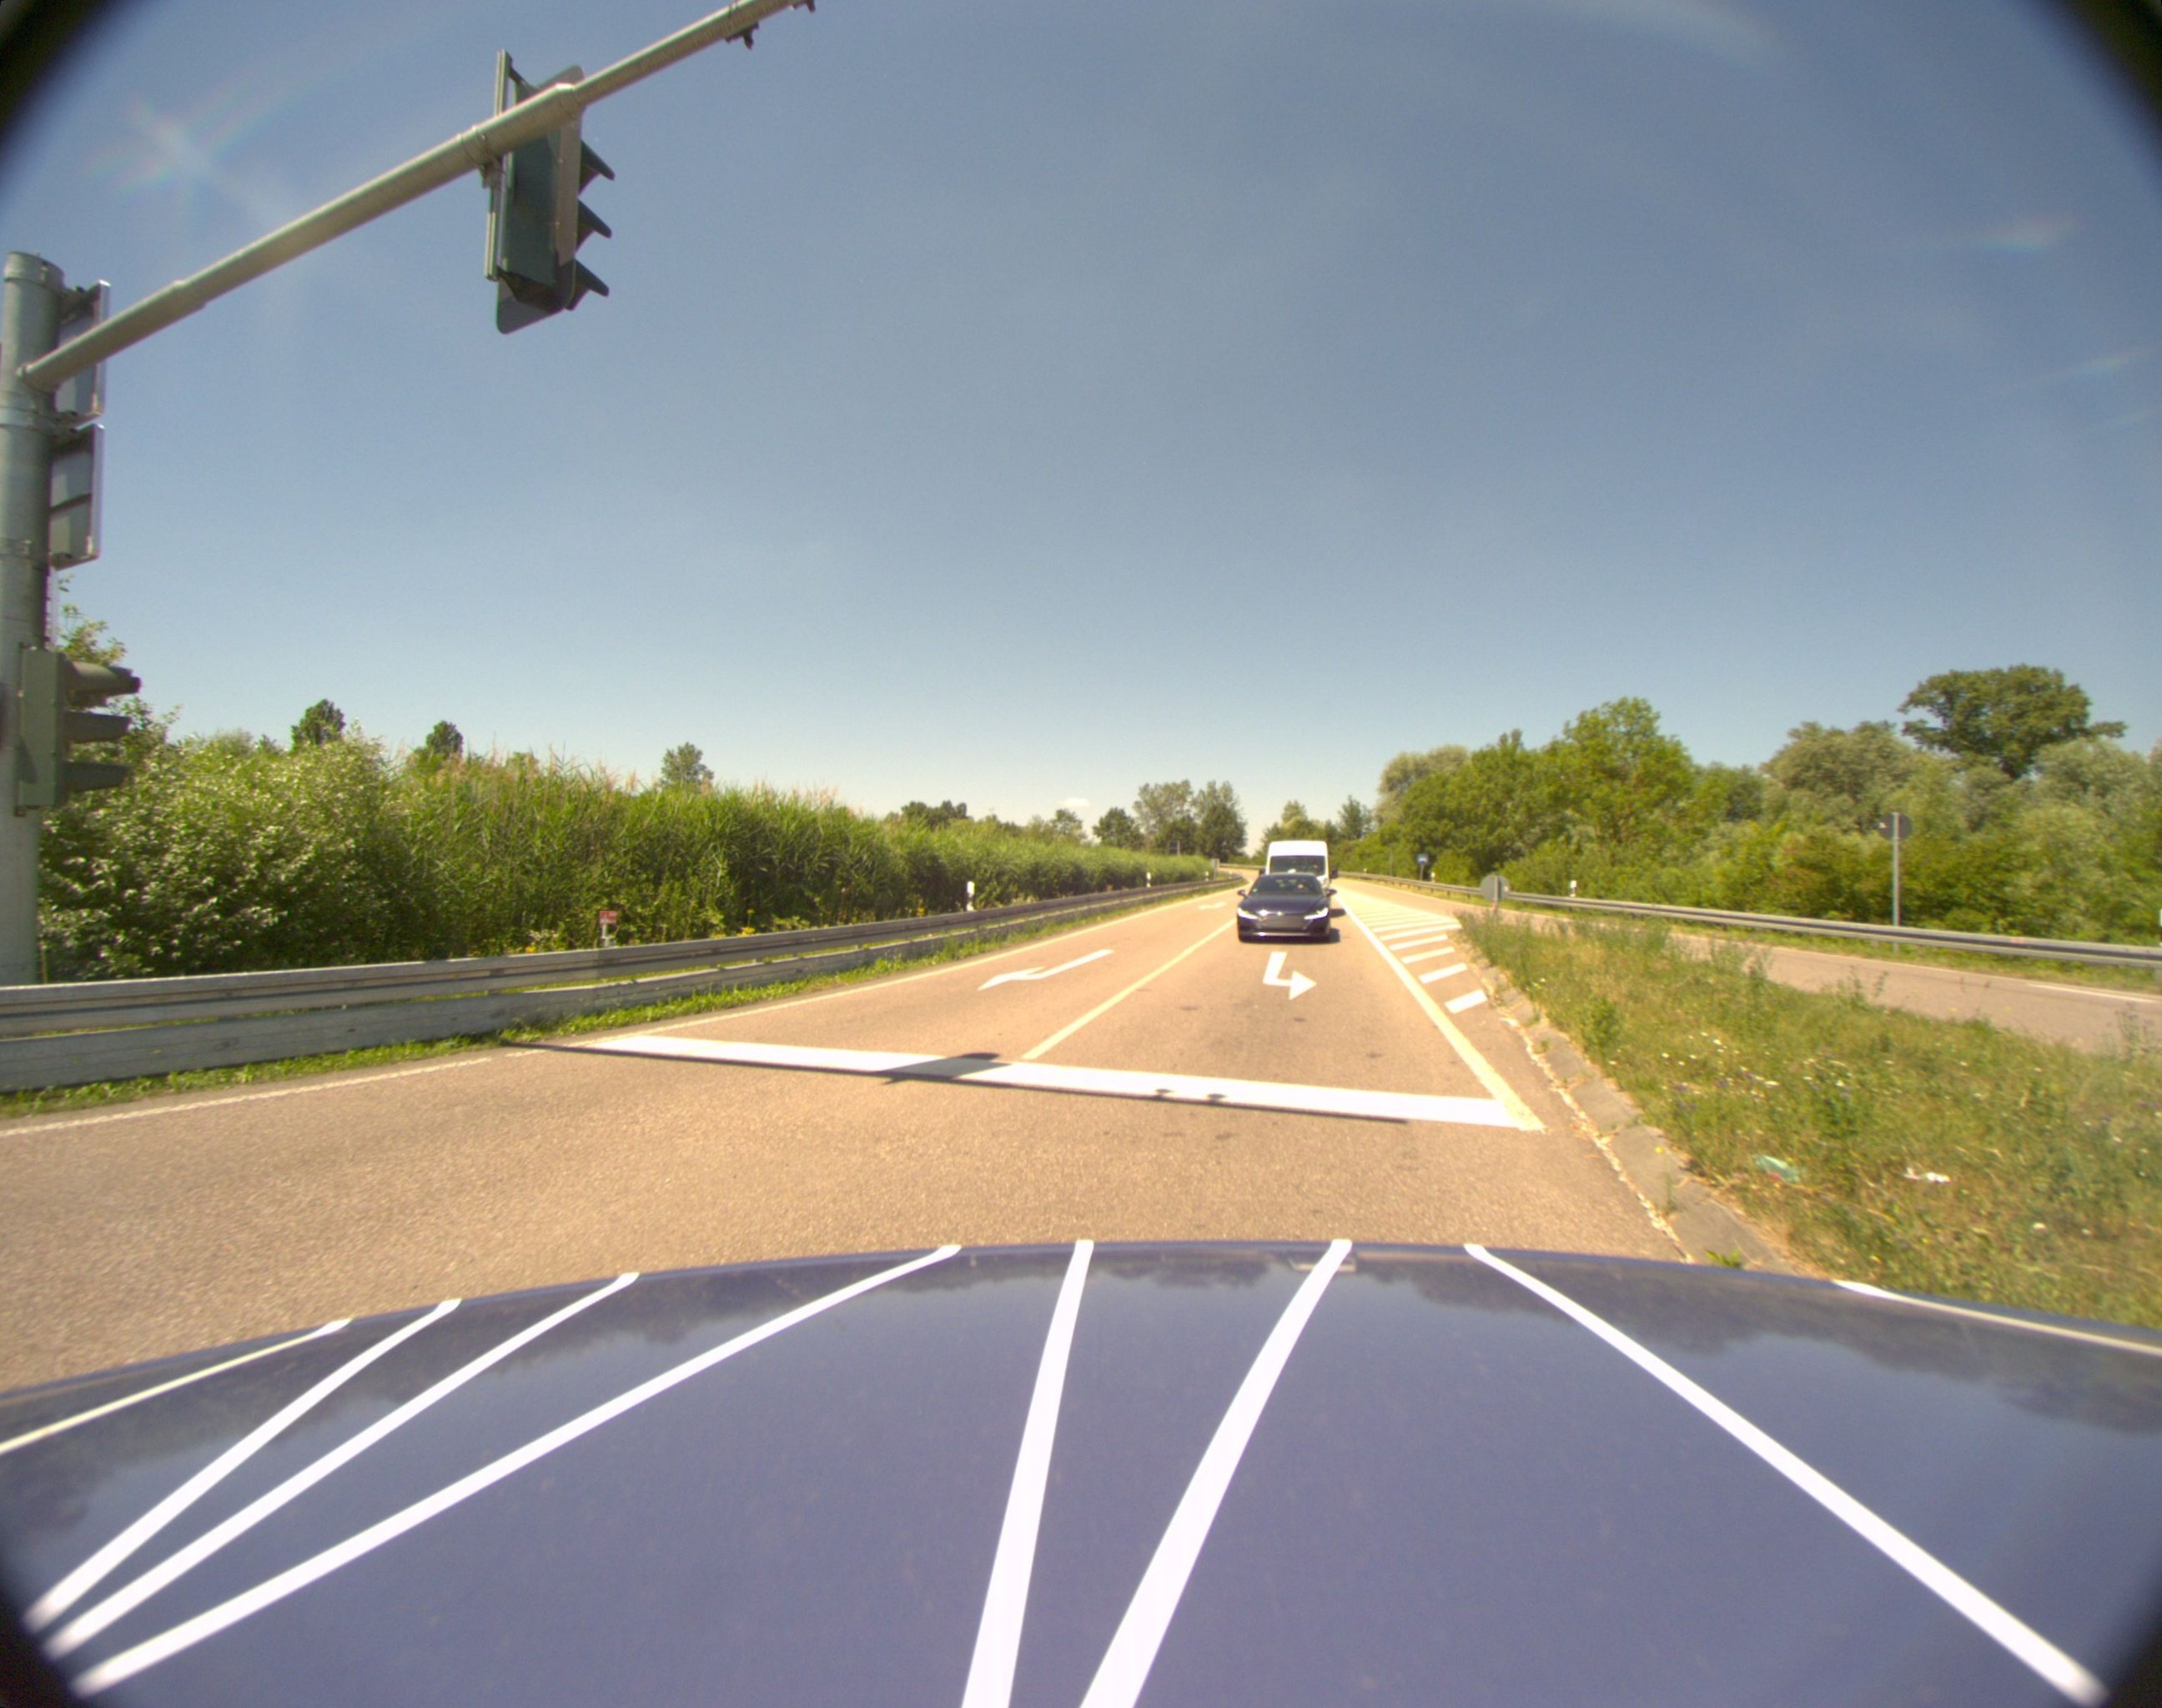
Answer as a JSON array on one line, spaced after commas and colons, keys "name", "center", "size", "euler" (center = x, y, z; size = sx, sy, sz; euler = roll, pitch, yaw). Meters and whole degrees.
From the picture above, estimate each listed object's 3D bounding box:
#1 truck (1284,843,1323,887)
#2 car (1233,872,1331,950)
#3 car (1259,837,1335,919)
[{"name": "truck", "center": [17.510, 0.846, 60.272], "size": [2.690, 3.176, 9.189], "euler": [1, 0, 15]}, {"name": "car", "center": [4.576, 1.143, 16.888], "size": [1.845, 1.414, 4.569], "euler": [0, -1, 18]}, {"name": "car", "center": [7.529, 0.790, 26.138], "size": [2.225, 2.480, 5.991], "euler": [0, -1, 18]}]
